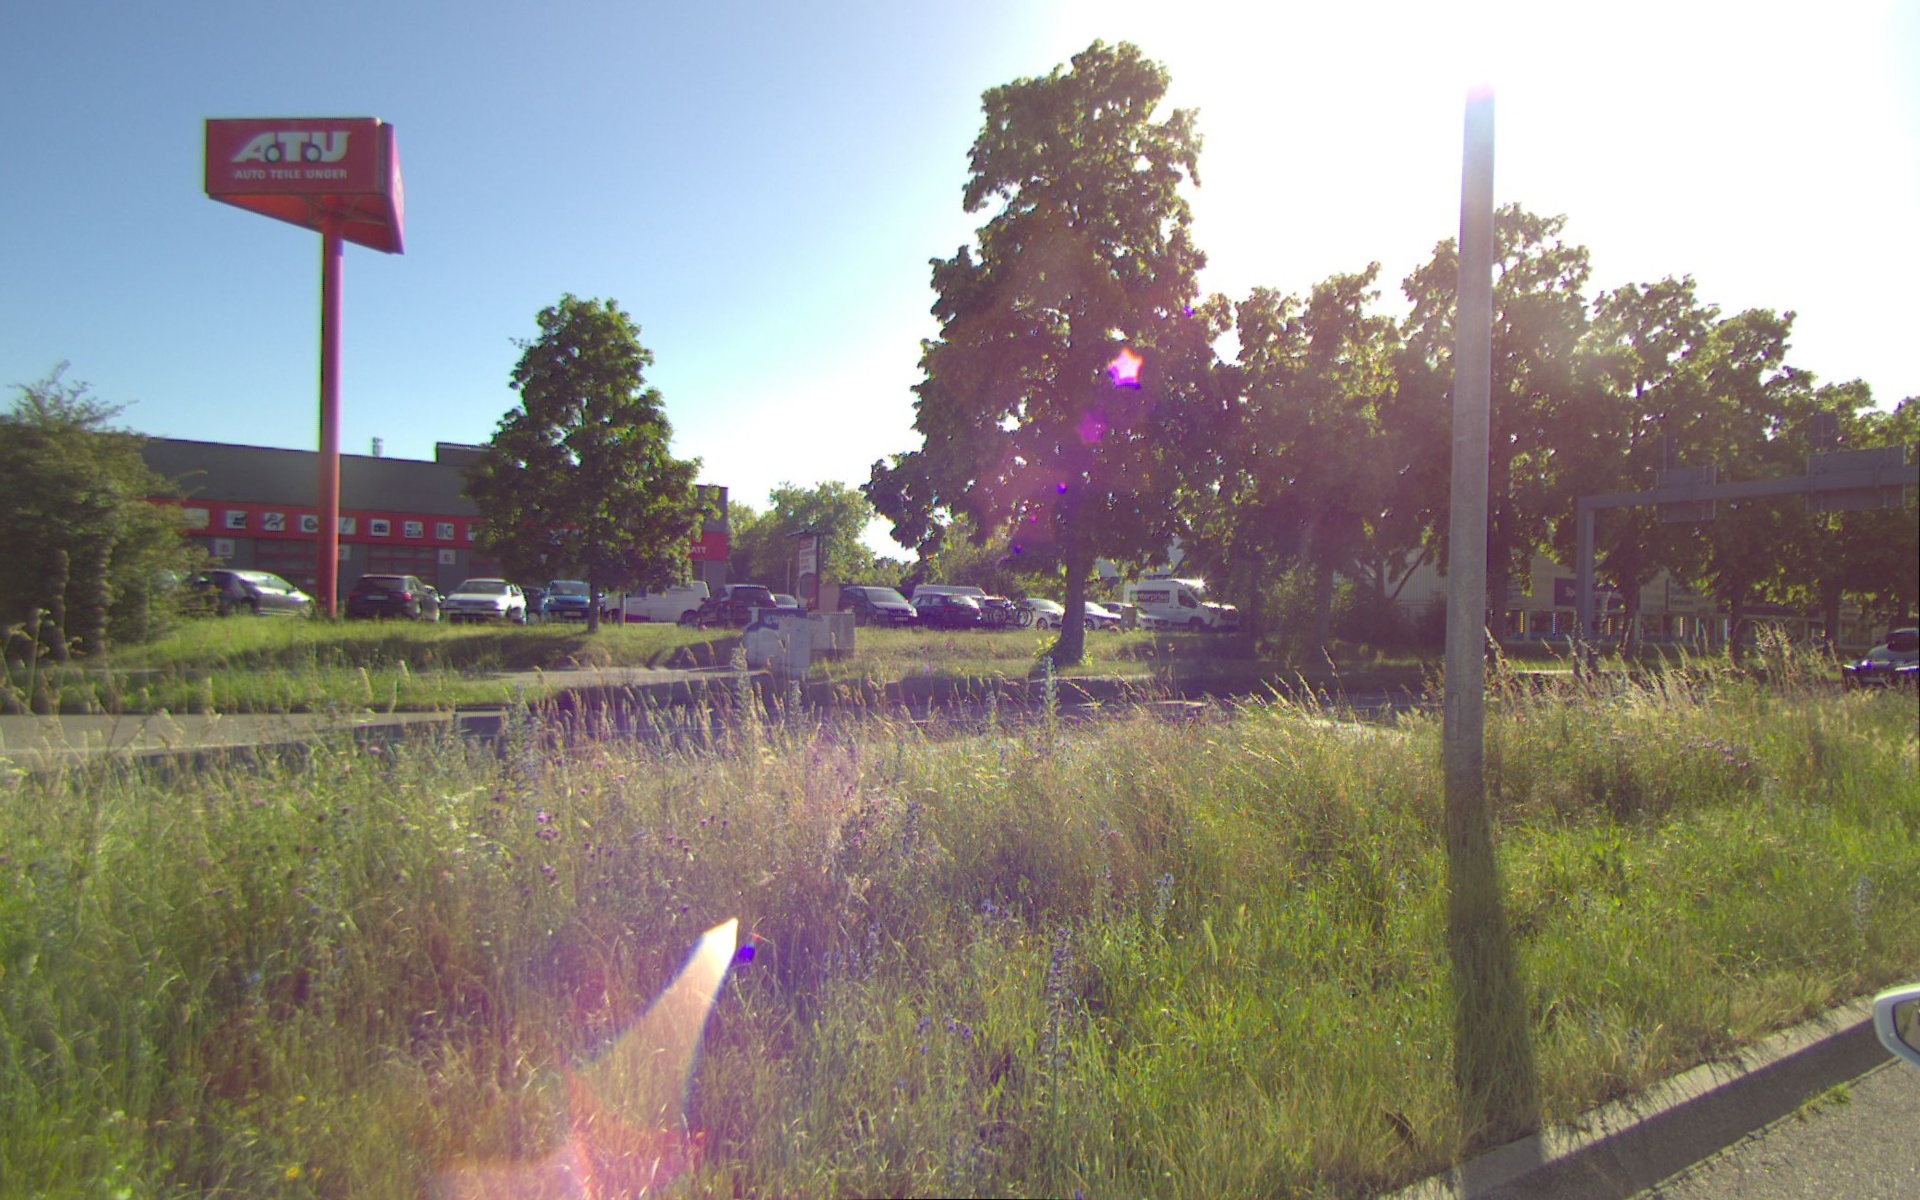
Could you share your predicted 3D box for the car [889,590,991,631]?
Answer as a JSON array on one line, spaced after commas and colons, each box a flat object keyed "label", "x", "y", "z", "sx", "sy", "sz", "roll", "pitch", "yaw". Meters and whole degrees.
[{"label": "car", "x": -0.798, "y": 0.377, "z": 37.249, "sx": 1.925, "sy": 1.407, "sz": 4.095, "roll": 2, "pitch": -1, "yaw": -32}]

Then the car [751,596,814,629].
[{"label": "car", "x": -8.536, "y": 0.597, "z": 48.114, "sx": 1.871, "sy": 1.474, "sz": 4.103, "roll": 2, "pitch": -1, "yaw": -27}]

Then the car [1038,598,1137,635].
[{"label": "car", "x": 5.250, "y": 0.677, "z": 41.874, "sx": 1.926, "sy": 1.407, "sz": 4.094, "roll": 2, "pitch": -1, "yaw": -33}]

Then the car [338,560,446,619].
[{"label": "car", "x": -16.651, "y": -0.254, "z": 29.644, "sx": 1.865, "sy": 1.572, "sz": 4.117, "roll": 1, "pitch": -1, "yaw": -17}]

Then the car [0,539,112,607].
[{"label": "car", "x": -32.174, "y": -0.927, "z": 33.941, "sx": 1.861, "sy": 2.180, "sz": 5.040, "roll": 1, "pitch": -1, "yaw": 28}]

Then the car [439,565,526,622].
[{"label": "car", "x": -14.391, "y": -0.150, "z": 30.473, "sx": 1.866, "sy": 1.572, "sz": 4.115, "roll": 2, "pitch": -1, "yaw": -19}]

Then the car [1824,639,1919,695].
[{"label": "car", "x": 28.194, "y": 1.993, "z": 30.279, "sx": 4.518, "sy": 1.563, "sz": 1.868, "roll": 2, "pitch": -3, "yaw": -30}]

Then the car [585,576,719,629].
[{"label": "car", "x": -12.708, "y": 0.141, "z": 41.496, "sx": 5.062, "sy": 1.982, "sz": 1.773, "roll": 2, "pitch": -1, "yaw": -27}]

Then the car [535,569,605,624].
[{"label": "car", "x": -12.275, "y": -0.082, "z": 31.495, "sx": 1.794, "sy": 1.572, "sz": 4.107, "roll": 2, "pitch": -1, "yaw": -24}]

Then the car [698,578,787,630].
[{"label": "car", "x": -7.271, "y": 0.151, "z": 33.251, "sx": 1.921, "sy": 1.572, "sz": 4.104, "roll": 2, "pitch": -1, "yaw": -27}]

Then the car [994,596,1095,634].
[{"label": "car", "x": 3.317, "y": 0.582, "z": 40.159, "sx": 1.926, "sy": 1.407, "sz": 4.094, "roll": 2, "pitch": -1, "yaw": -33}]

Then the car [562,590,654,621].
[{"label": "car", "x": -18.181, "y": 0.299, "z": 51.956, "sx": 4.235, "sy": 1.474, "sz": 1.881, "roll": 2, "pitch": -1, "yaw": -29}]

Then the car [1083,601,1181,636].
[{"label": "car", "x": 7.360, "y": 0.778, "z": 43.384, "sx": 1.926, "sy": 1.407, "sz": 4.094, "roll": 2, "pitch": -1, "yaw": -33}]

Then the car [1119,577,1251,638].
[{"label": "car", "x": 9.793, "y": 0.343, "z": 44.310, "sx": 2.183, "sy": 2.465, "sz": 5.844, "roll": 2, "pitch": -1, "yaw": -33}]

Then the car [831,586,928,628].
[{"label": "car", "x": -2.983, "y": 0.275, "z": 36.515, "sx": 1.924, "sy": 1.407, "sz": 4.098, "roll": 2, "pitch": -1, "yaw": -30}]

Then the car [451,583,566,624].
[{"label": "car", "x": -17.383, "y": 0.159, "z": 38.704, "sx": 3.935, "sy": 1.474, "sz": 1.772, "roll": 2, "pitch": -1, "yaw": -29}]

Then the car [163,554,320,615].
[{"label": "car", "x": -20.365, "y": -0.384, "z": 28.716, "sx": 1.860, "sy": 1.572, "sz": 4.127, "roll": 1, "pitch": -1, "yaw": -7}]

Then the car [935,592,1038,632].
[{"label": "car", "x": 0.938, "y": 0.456, "z": 38.780, "sx": 1.923, "sy": 1.407, "sz": 4.600, "roll": 2, "pitch": -1, "yaw": -29}]

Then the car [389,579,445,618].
[{"label": "car", "x": -21.862, "y": -0.037, "z": 40.375, "sx": 1.873, "sy": 1.474, "sz": 4.099, "roll": 2, "pitch": -1, "yaw": -30}]
